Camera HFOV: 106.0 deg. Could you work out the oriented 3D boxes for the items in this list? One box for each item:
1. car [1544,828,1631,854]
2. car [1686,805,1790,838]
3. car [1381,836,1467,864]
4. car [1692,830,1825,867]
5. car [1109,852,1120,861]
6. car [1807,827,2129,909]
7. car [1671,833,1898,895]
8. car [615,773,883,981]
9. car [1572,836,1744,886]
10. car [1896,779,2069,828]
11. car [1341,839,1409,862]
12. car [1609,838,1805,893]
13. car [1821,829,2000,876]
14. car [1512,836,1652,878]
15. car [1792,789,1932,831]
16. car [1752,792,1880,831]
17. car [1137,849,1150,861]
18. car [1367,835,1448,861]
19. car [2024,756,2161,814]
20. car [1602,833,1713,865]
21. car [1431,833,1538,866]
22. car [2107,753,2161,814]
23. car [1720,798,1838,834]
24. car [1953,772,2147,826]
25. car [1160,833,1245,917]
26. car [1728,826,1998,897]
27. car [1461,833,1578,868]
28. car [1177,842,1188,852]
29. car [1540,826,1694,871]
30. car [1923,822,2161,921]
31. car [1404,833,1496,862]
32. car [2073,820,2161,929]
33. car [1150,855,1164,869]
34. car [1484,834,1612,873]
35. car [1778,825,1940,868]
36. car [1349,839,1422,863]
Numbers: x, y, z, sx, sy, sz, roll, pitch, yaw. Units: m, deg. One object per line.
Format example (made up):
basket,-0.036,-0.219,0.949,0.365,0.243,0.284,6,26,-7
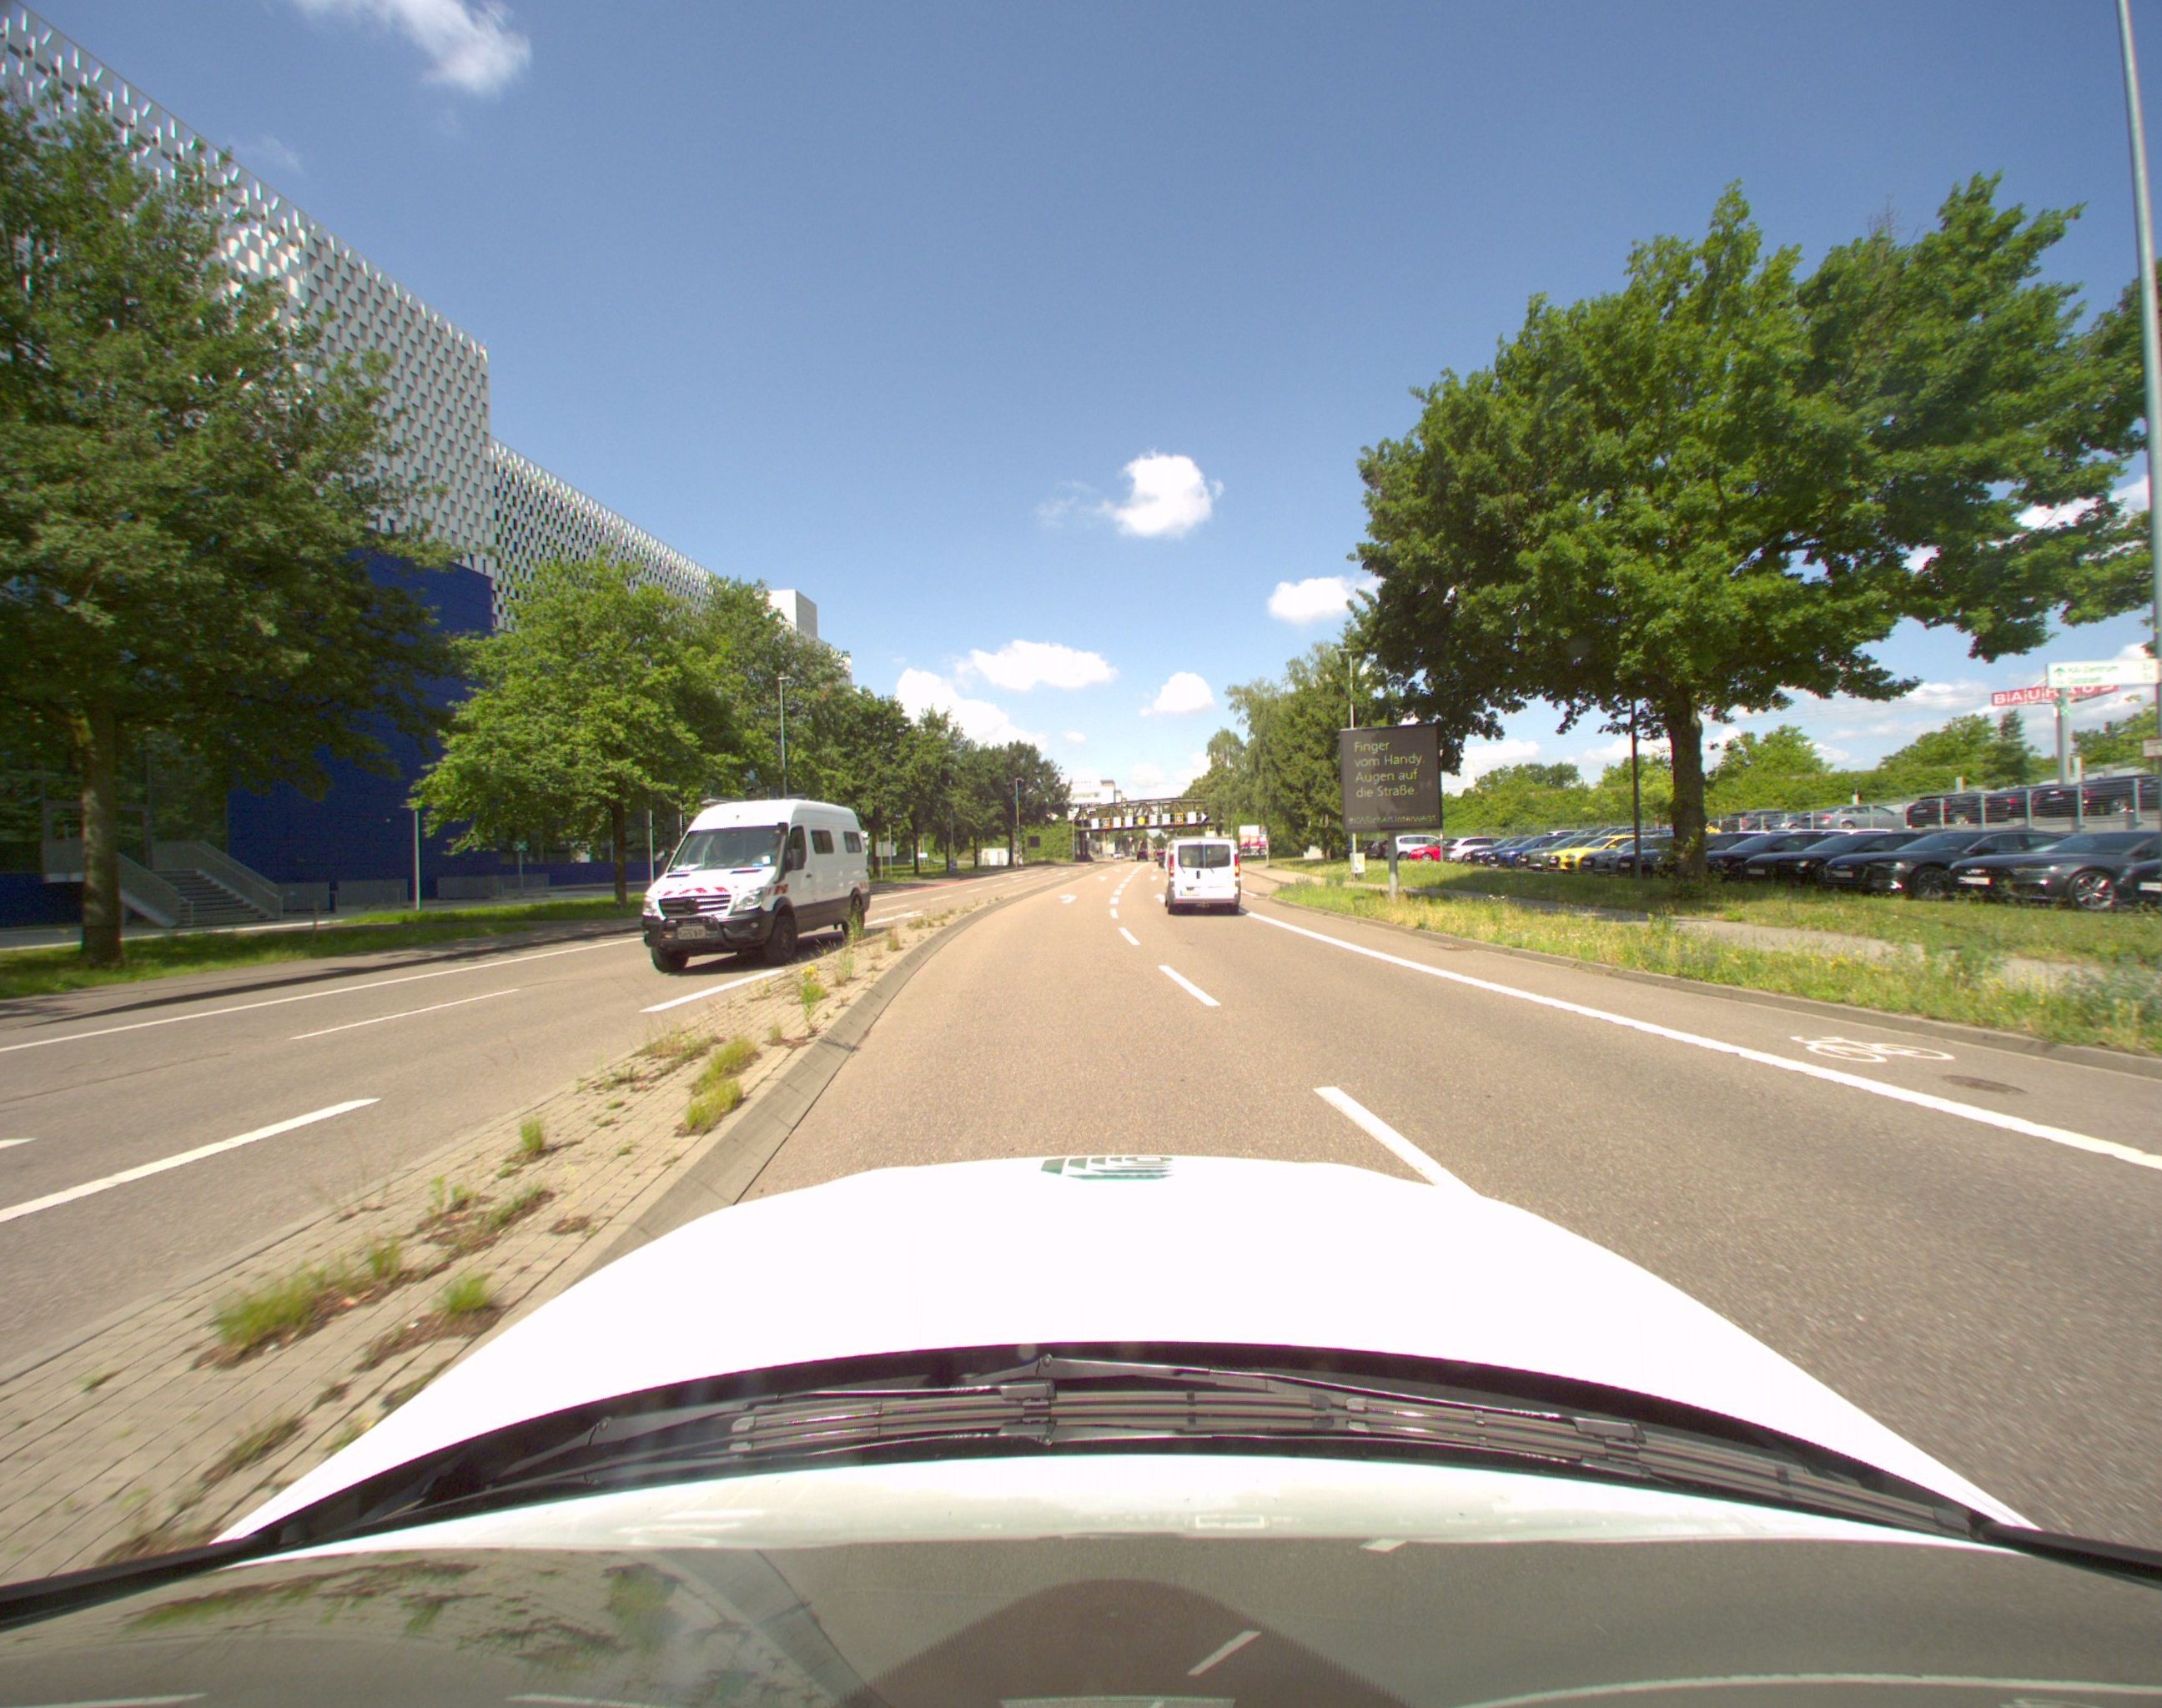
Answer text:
car,32.681,-0.808,52.640,4.325,1.499,1.910,-2,0,5
car,38.128,-1.891,47.359,4.330,1.774,1.941,-1,2,8
car,20.332,-0.262,48.423,4.335,1.512,1.938,-1,2,4
car,30.766,-0.260,37.108,4.325,1.499,1.910,-2,0,5
car,8.043,0.627,194.961,1.982,2.013,4.009,-2,0,8
car,17.921,0.241,16.663,4.335,1.512,1.938,-1,2,4
car,18.668,0.229,21.796,4.335,1.512,1.938,-1,2,4
car,-5.504,0.330,14.777,2.015,2.893,6.384,-2,0,1
car,19.110,0.199,27.128,4.335,1.512,1.938,-1,2,4
car,35.238,-1.944,31.956,4.330,1.774,1.941,-1,2,8
car,21.278,-0.252,59.048,4.335,1.512,1.938,-1,2,4
car,18.649,0.320,24.422,4.335,1.512,1.938,-1,2,4
car,29.771,-0.064,29.354,4.325,1.499,1.910,-2,0,5
car,19.705,0.087,32.154,4.335,1.512,1.938,-1,2,4
car,35.614,-1.988,37.263,4.330,1.774,1.941,-1,2,8
car,35.896,-2.081,39.900,4.330,1.774,1.941,-1,2,8
car,10.187,0.179,132.751,1.983,1.771,4.008,-1,2,7
car,20.407,-0.389,51.003,4.335,1.512,1.938,-1,2,4
car,34.495,-2.261,26.802,4.330,1.774,1.941,-1,2,8
car,29.871,-0.257,42.321,4.325,1.499,1.910,-2,0,5
car,19.787,-0.222,40.042,4.335,1.512,1.938,-1,2,4
car,34.398,-2.152,24.447,4.330,1.774,1.941,-1,2,8
car,36.311,-1.976,42.490,4.330,1.774,1.941,-1,2,8
car,34.948,-1.945,29.501,4.330,1.774,1.941,-1,2,8
car,3.269,0.480,22.726,1.964,2.059,4.570,-1,1,4
car,18.087,0.150,19.028,4.335,1.512,1.938,-1,2,4
car,20.065,-0.177,37.386,4.335,1.512,1.938,-1,2,4
car,26.529,-1.807,212.921,2.363,2.475,4.776,-2,0,11
car,19.433,-0.232,29.702,4.335,1.512,1.938,-1,2,4
car,17.600,0.246,13.893,4.335,1.512,1.938,-1,2,4
car,20.735,-0.398,45.922,4.335,1.512,1.938,-1,2,4
car,17.291,0.261,11.372,4.335,1.512,1.938,-1,2,4
car,11.310,1.126,121.283,1.983,2.013,4.007,-2,0,6
car,19.817,-0.052,34.708,4.335,1.512,1.938,-1,2,4
car,30.191,-0.274,31.724,4.325,1.499,1.910,-2,0,5
car,20.609,-0.227,55.259,4.335,1.512,1.938,-1,2,4
